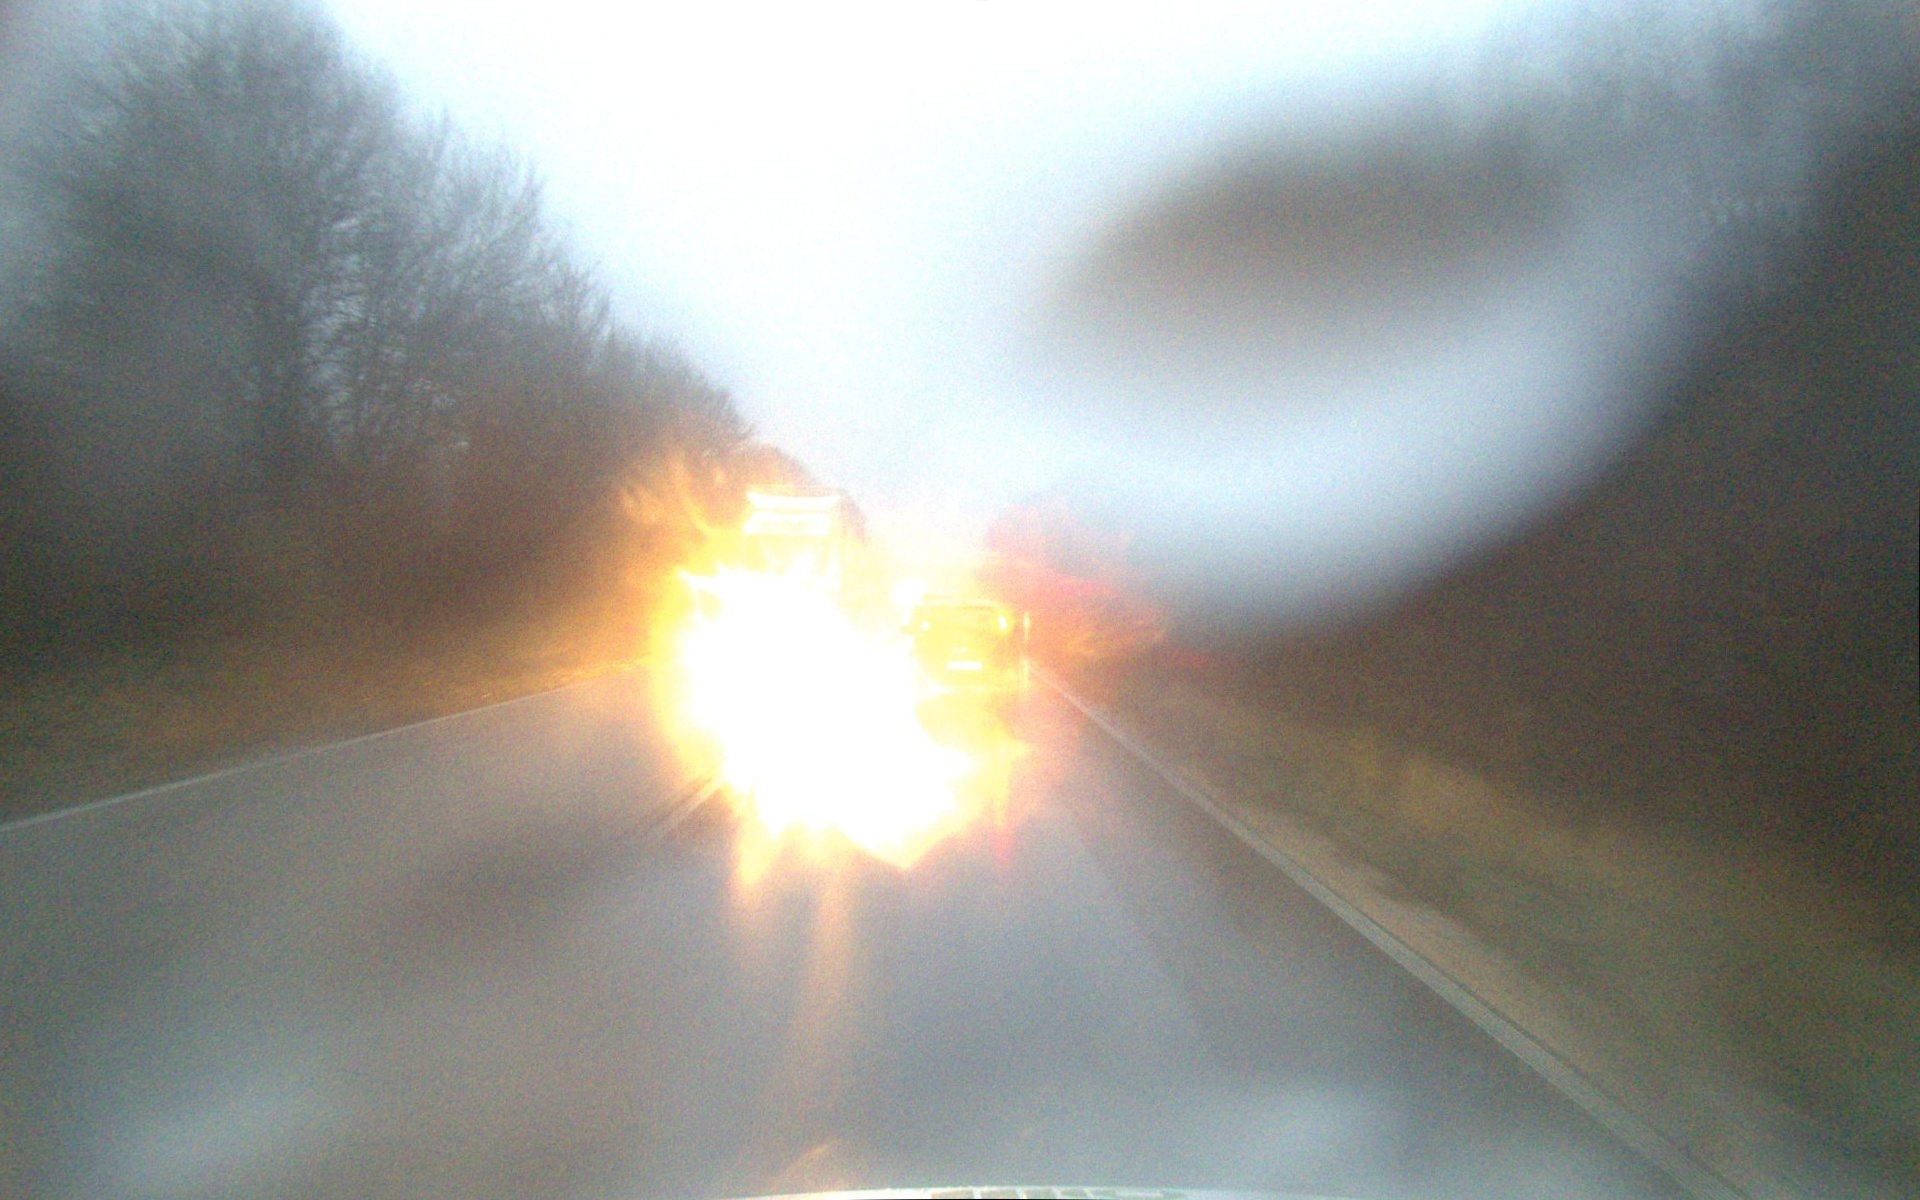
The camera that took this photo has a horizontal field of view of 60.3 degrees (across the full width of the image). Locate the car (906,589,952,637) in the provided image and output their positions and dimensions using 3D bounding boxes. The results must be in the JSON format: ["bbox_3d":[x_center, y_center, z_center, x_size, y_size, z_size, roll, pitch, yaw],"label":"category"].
[{"bbox_3d":[-1.211,0.497,64.650,1.698,1.810,3.999,1,0,-1],"label":"car"}]

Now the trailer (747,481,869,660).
[{"bbox_3d":[-4.238,-0.767,48.507,2.617,4.536,12.239,1,0,-1],"label":"trailer"}]

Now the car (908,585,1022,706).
[{"bbox_3d":[0.072,0.654,25.452,1.614,1.701,3.514,1,0,0],"label":"car"}]

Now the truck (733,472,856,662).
[{"bbox_3d":[-4.116,-0.789,42.145,2.588,4.493,5.552,1,0,-1],"label":"truck"}]
